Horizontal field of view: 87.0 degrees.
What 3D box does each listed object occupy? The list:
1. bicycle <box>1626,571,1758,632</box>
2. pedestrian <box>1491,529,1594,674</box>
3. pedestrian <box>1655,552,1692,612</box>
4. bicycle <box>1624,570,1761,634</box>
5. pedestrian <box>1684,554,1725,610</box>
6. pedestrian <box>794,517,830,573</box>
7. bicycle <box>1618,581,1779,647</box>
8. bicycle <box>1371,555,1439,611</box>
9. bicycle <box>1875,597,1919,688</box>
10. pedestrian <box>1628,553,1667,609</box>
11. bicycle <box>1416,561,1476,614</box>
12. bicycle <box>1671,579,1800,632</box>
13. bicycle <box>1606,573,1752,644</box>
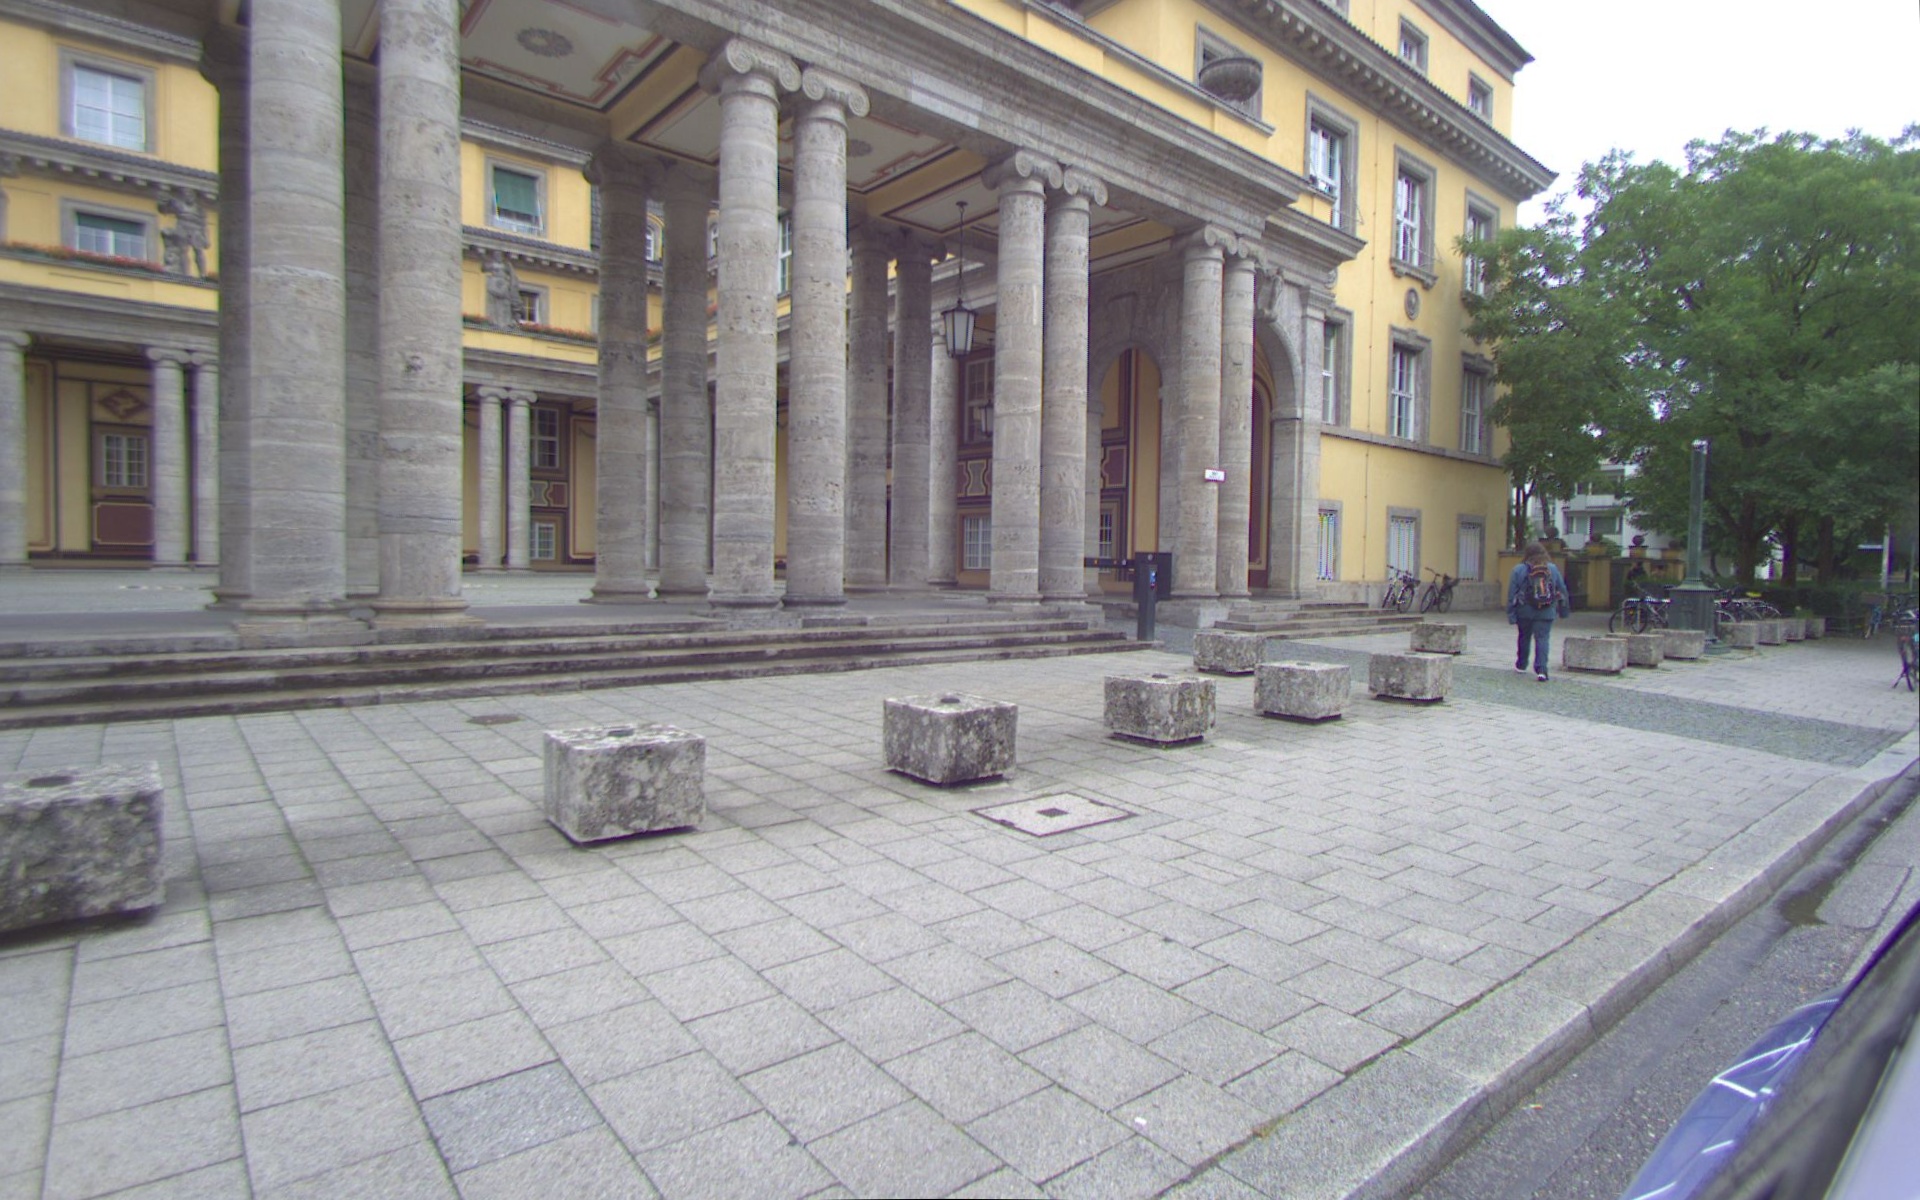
[{"bbox_3d":[16.195,0.003,22.432,2.256,1.035,0.593,9,8,39],"label":"bicycle"},{"bbox_3d":[7.506,-0.008,13.041,1.037,1.767,0.789,-1,3,-41],"label":"pedestrian"},{"bbox_3d":[23.218,-0.585,32.939,0.806,1.887,0.659,-1,6,-40],"label":"pedestrian"},{"bbox_3d":[15.659,0.017,21.675,2.256,1.071,0.593,9,8,39],"label":"bicycle"},{"bbox_3d":[25.718,-0.636,34.965,1.017,1.887,0.782,-1,6,-41],"label":"pedestrian"},{"bbox_3d":[-4.761,-1.762,32.498,0.964,1.742,0.808,-1,0,-20],"label":"pedestrian"},{"bbox_3d":[13.949,0.234,19.172,2.362,1.018,0.668,6,5,42],"label":"bicycle"},{"bbox_3d":[11.096,-0.428,25.191,2.224,1.323,0.601,-1,3,-41],"label":"bicycle"},{"bbox_3d":[13.278,0.566,13.890,2.225,1.113,0.762,-1,5,-41],"label":"bicycle"},{"bbox_3d":[22.756,-0.642,33.489,0.827,1.764,0.741,-1,6,-40],"label":"pedestrian"},{"bbox_3d":[12.848,-0.344,26.707,2.127,1.323,0.601,-1,3,-41],"label":"bicycle"},{"bbox_3d":[18.006,0.106,23.565,0.591,1.023,2.264,1,4,-37],"label":"bicycle"},{"bbox_3d":[14.409,0.144,20.334,2.256,1.107,0.593,9,8,39],"label":"bicycle"}]
